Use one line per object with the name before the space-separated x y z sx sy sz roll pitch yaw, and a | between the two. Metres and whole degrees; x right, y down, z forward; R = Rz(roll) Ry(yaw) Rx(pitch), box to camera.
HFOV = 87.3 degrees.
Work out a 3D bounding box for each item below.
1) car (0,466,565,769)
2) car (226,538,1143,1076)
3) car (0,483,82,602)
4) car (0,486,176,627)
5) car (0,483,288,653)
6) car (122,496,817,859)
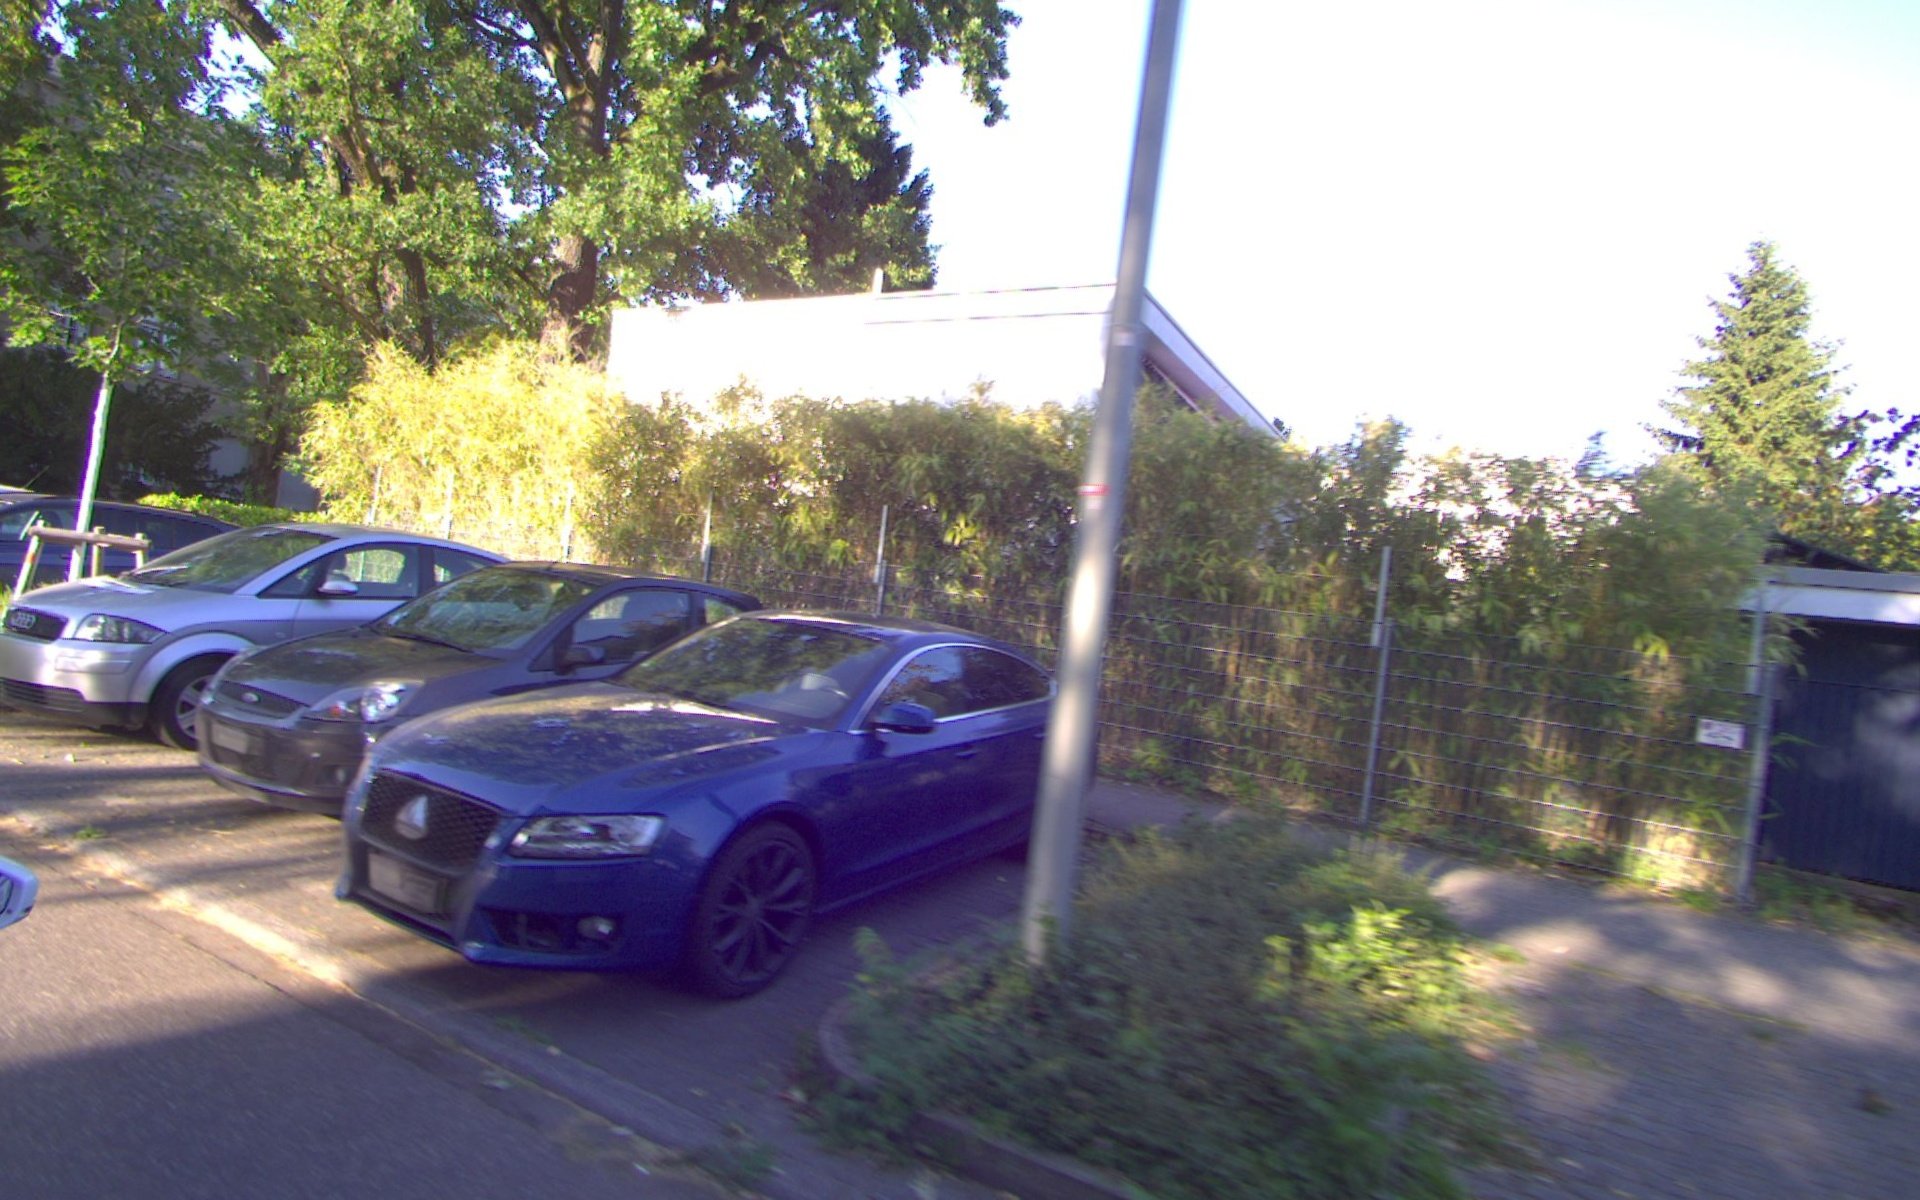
car | -4.962 0.161 7.522 1.729 1.603 3.507 7 -1 19
car | -0.772 0.692 5.318 1.890 1.432 4.595 6 0 30
car | -14.356 -0.956 13.092 1.842 1.534 3.962 4 -2 30
car | -12.108 -0.675 11.960 1.647 1.534 3.961 7 -2 32
car | -10.083 -0.425 10.642 1.857 1.567 4.505 7 -2 26
car | -2.779 0.467 6.614 1.760 1.541 3.692 7 -2 25
